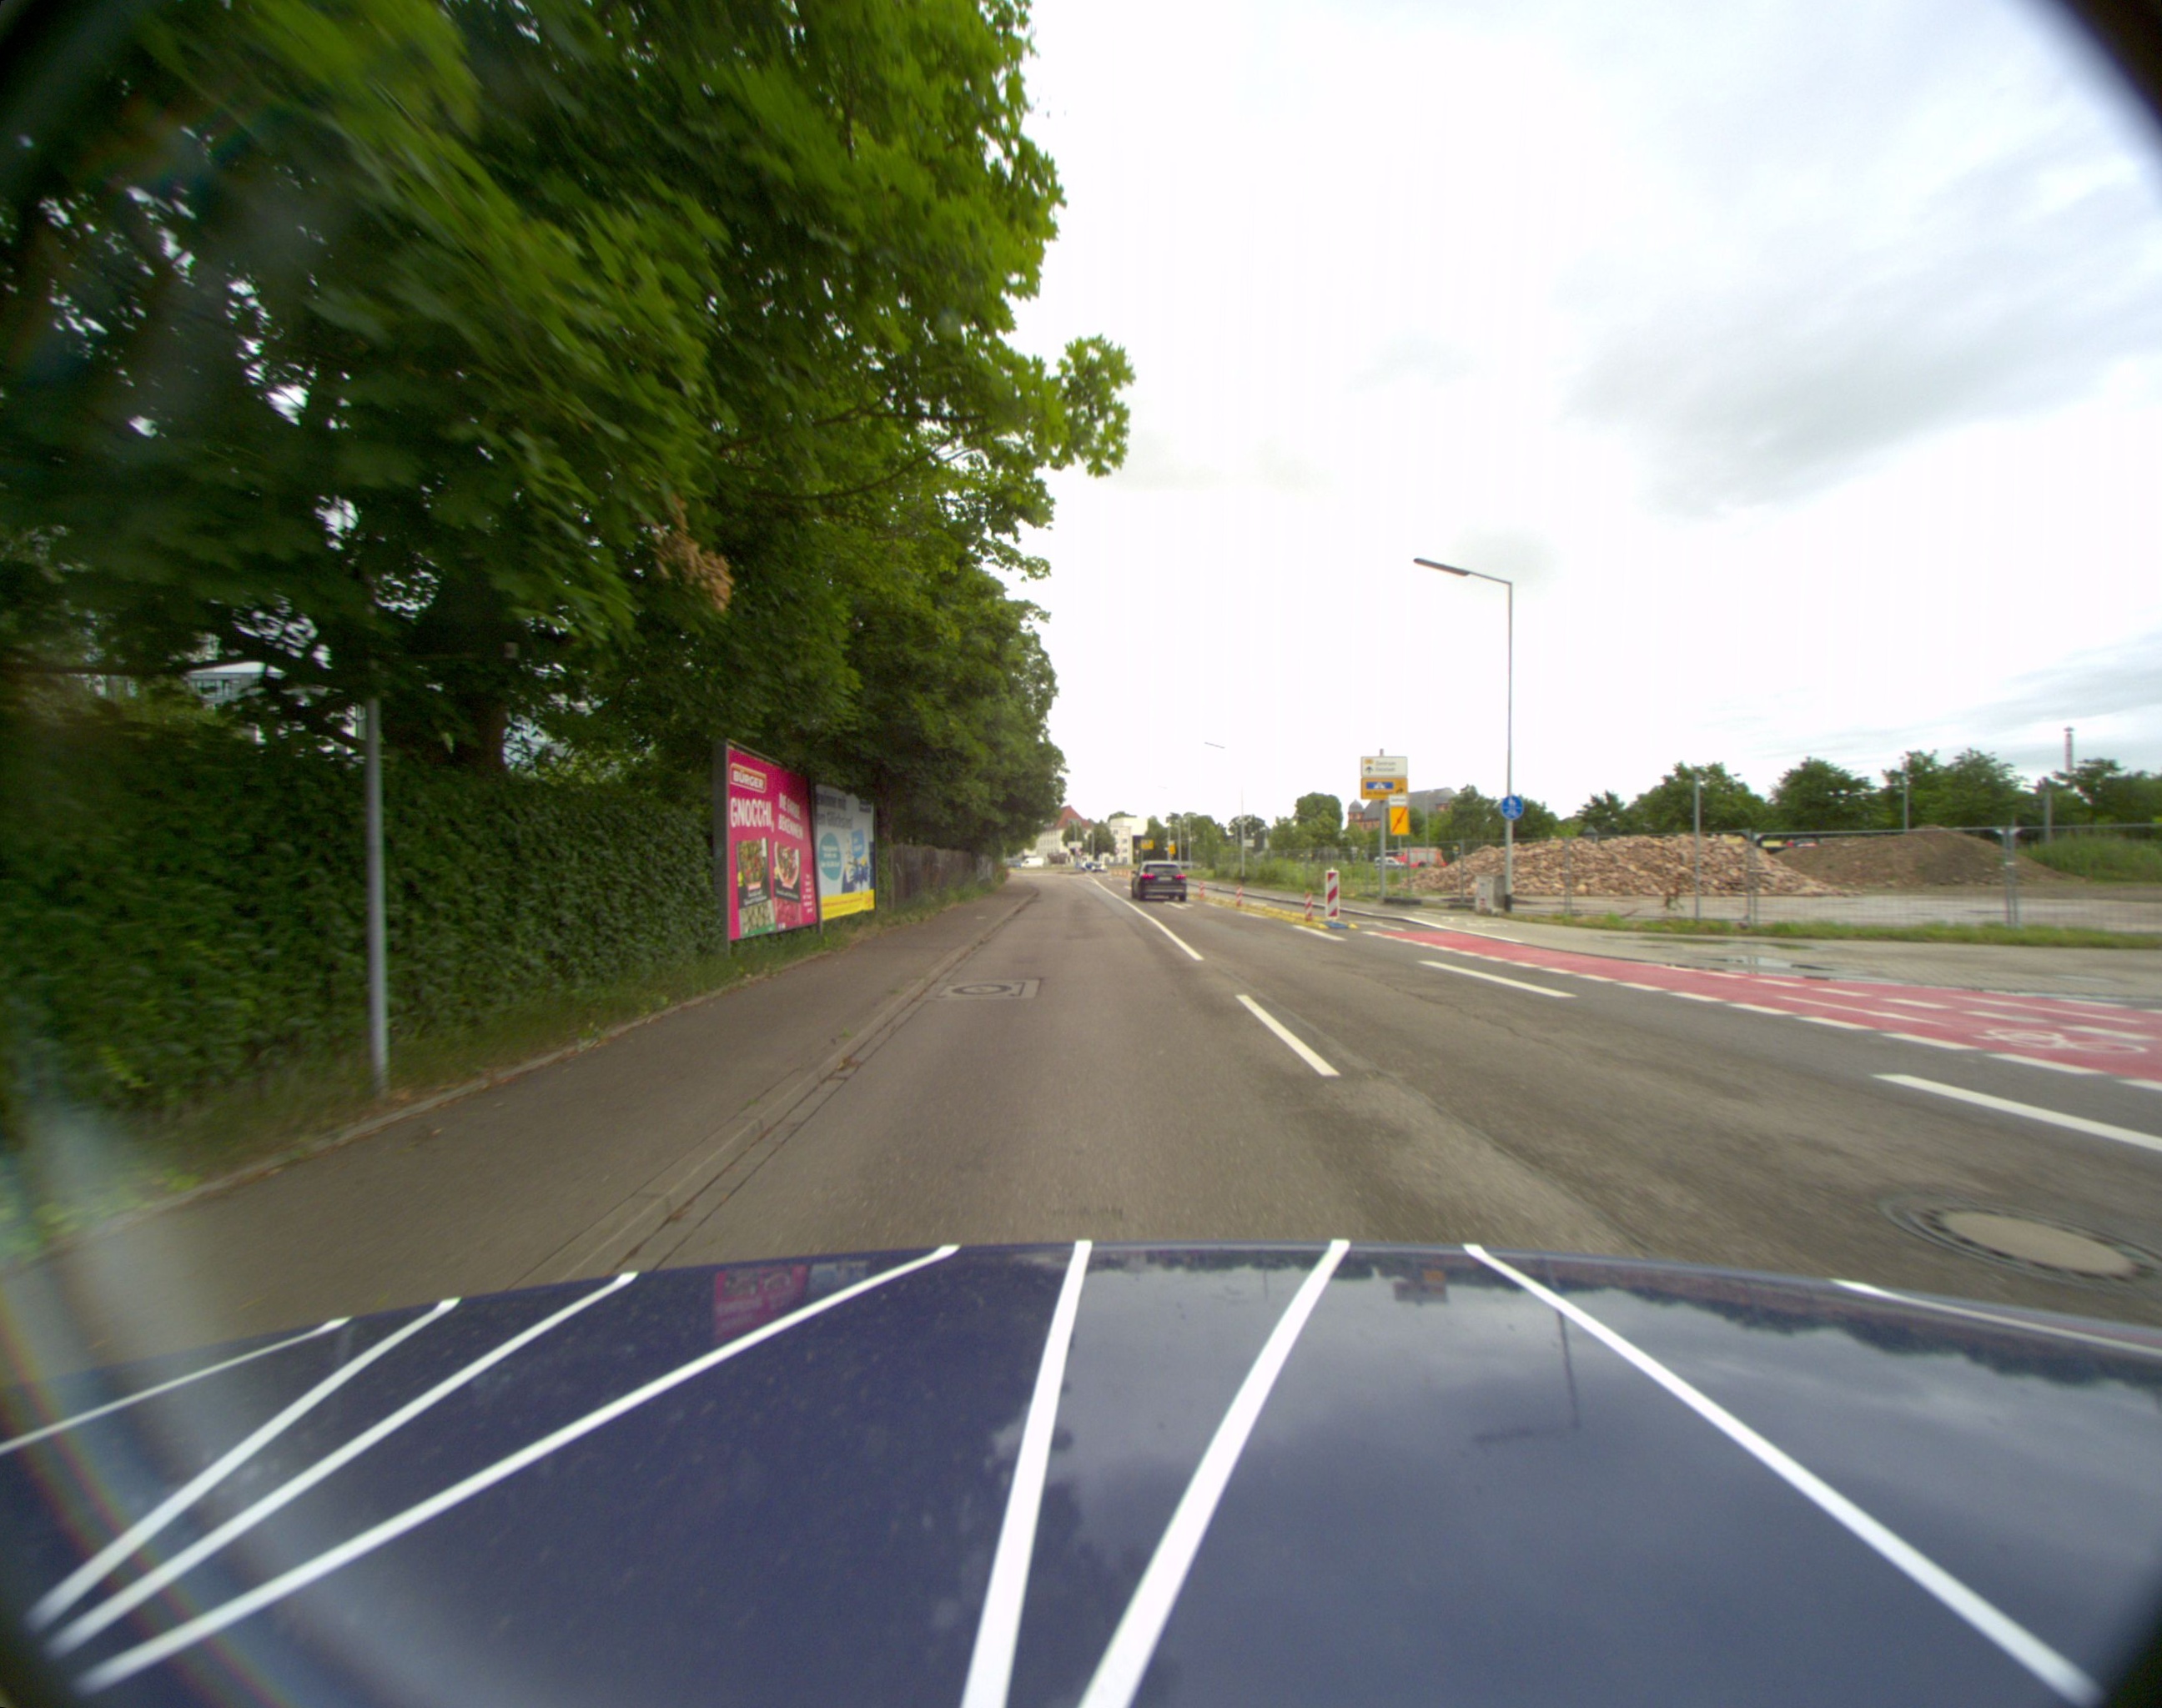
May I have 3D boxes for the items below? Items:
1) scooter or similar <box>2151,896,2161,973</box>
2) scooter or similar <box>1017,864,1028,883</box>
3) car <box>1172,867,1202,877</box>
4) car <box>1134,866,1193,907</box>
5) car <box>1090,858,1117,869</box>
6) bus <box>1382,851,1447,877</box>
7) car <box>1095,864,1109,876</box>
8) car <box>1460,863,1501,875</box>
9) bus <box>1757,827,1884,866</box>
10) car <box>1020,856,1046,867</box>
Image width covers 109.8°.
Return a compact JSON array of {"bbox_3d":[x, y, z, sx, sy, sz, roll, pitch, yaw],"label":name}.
[{"bbox_3d":[17.063,1.204,10.901,0.658,1.135,1.898,-1,0,-45],"label":"scooter or similar"},{"bbox_3d":[-4.283,1.413,55.344,0.693,1.304,2.352,0,-1,-7],"label":"scooter or similar"},{"bbox_3d":[15.960,2.724,114.640,4.352,1.608,2.002,0,-1,11],"label":"car"},{"bbox_3d":[3.270,1.295,30.976,1.886,1.557,4.359,0,-2,-1],"label":"car"},{"bbox_3d":[3.483,1.477,117.896,3.993,1.608,1.861,-1,0,12],"label":"car"},{"bbox_3d":[48.854,1.544,111.428,8.374,3.626,2.741,-1,-2,39],"label":"bus"},{"bbox_3d":[2.914,2.218,105.684,1.755,1.578,3.901,2,-1,-1],"label":"car"},{"bbox_3d":[49.941,1.901,94.984,4.420,1.448,1.836,-1,-1,32],"label":"car"},{"bbox_3d":[80.692,-0.659,83.278,9.862,3.957,2.741,-1,-2,42],"label":"bus"},{"bbox_3d":[-11.032,1.715,175.666,5.615,2.526,2.237,0,0,-21],"label":"car"}]
